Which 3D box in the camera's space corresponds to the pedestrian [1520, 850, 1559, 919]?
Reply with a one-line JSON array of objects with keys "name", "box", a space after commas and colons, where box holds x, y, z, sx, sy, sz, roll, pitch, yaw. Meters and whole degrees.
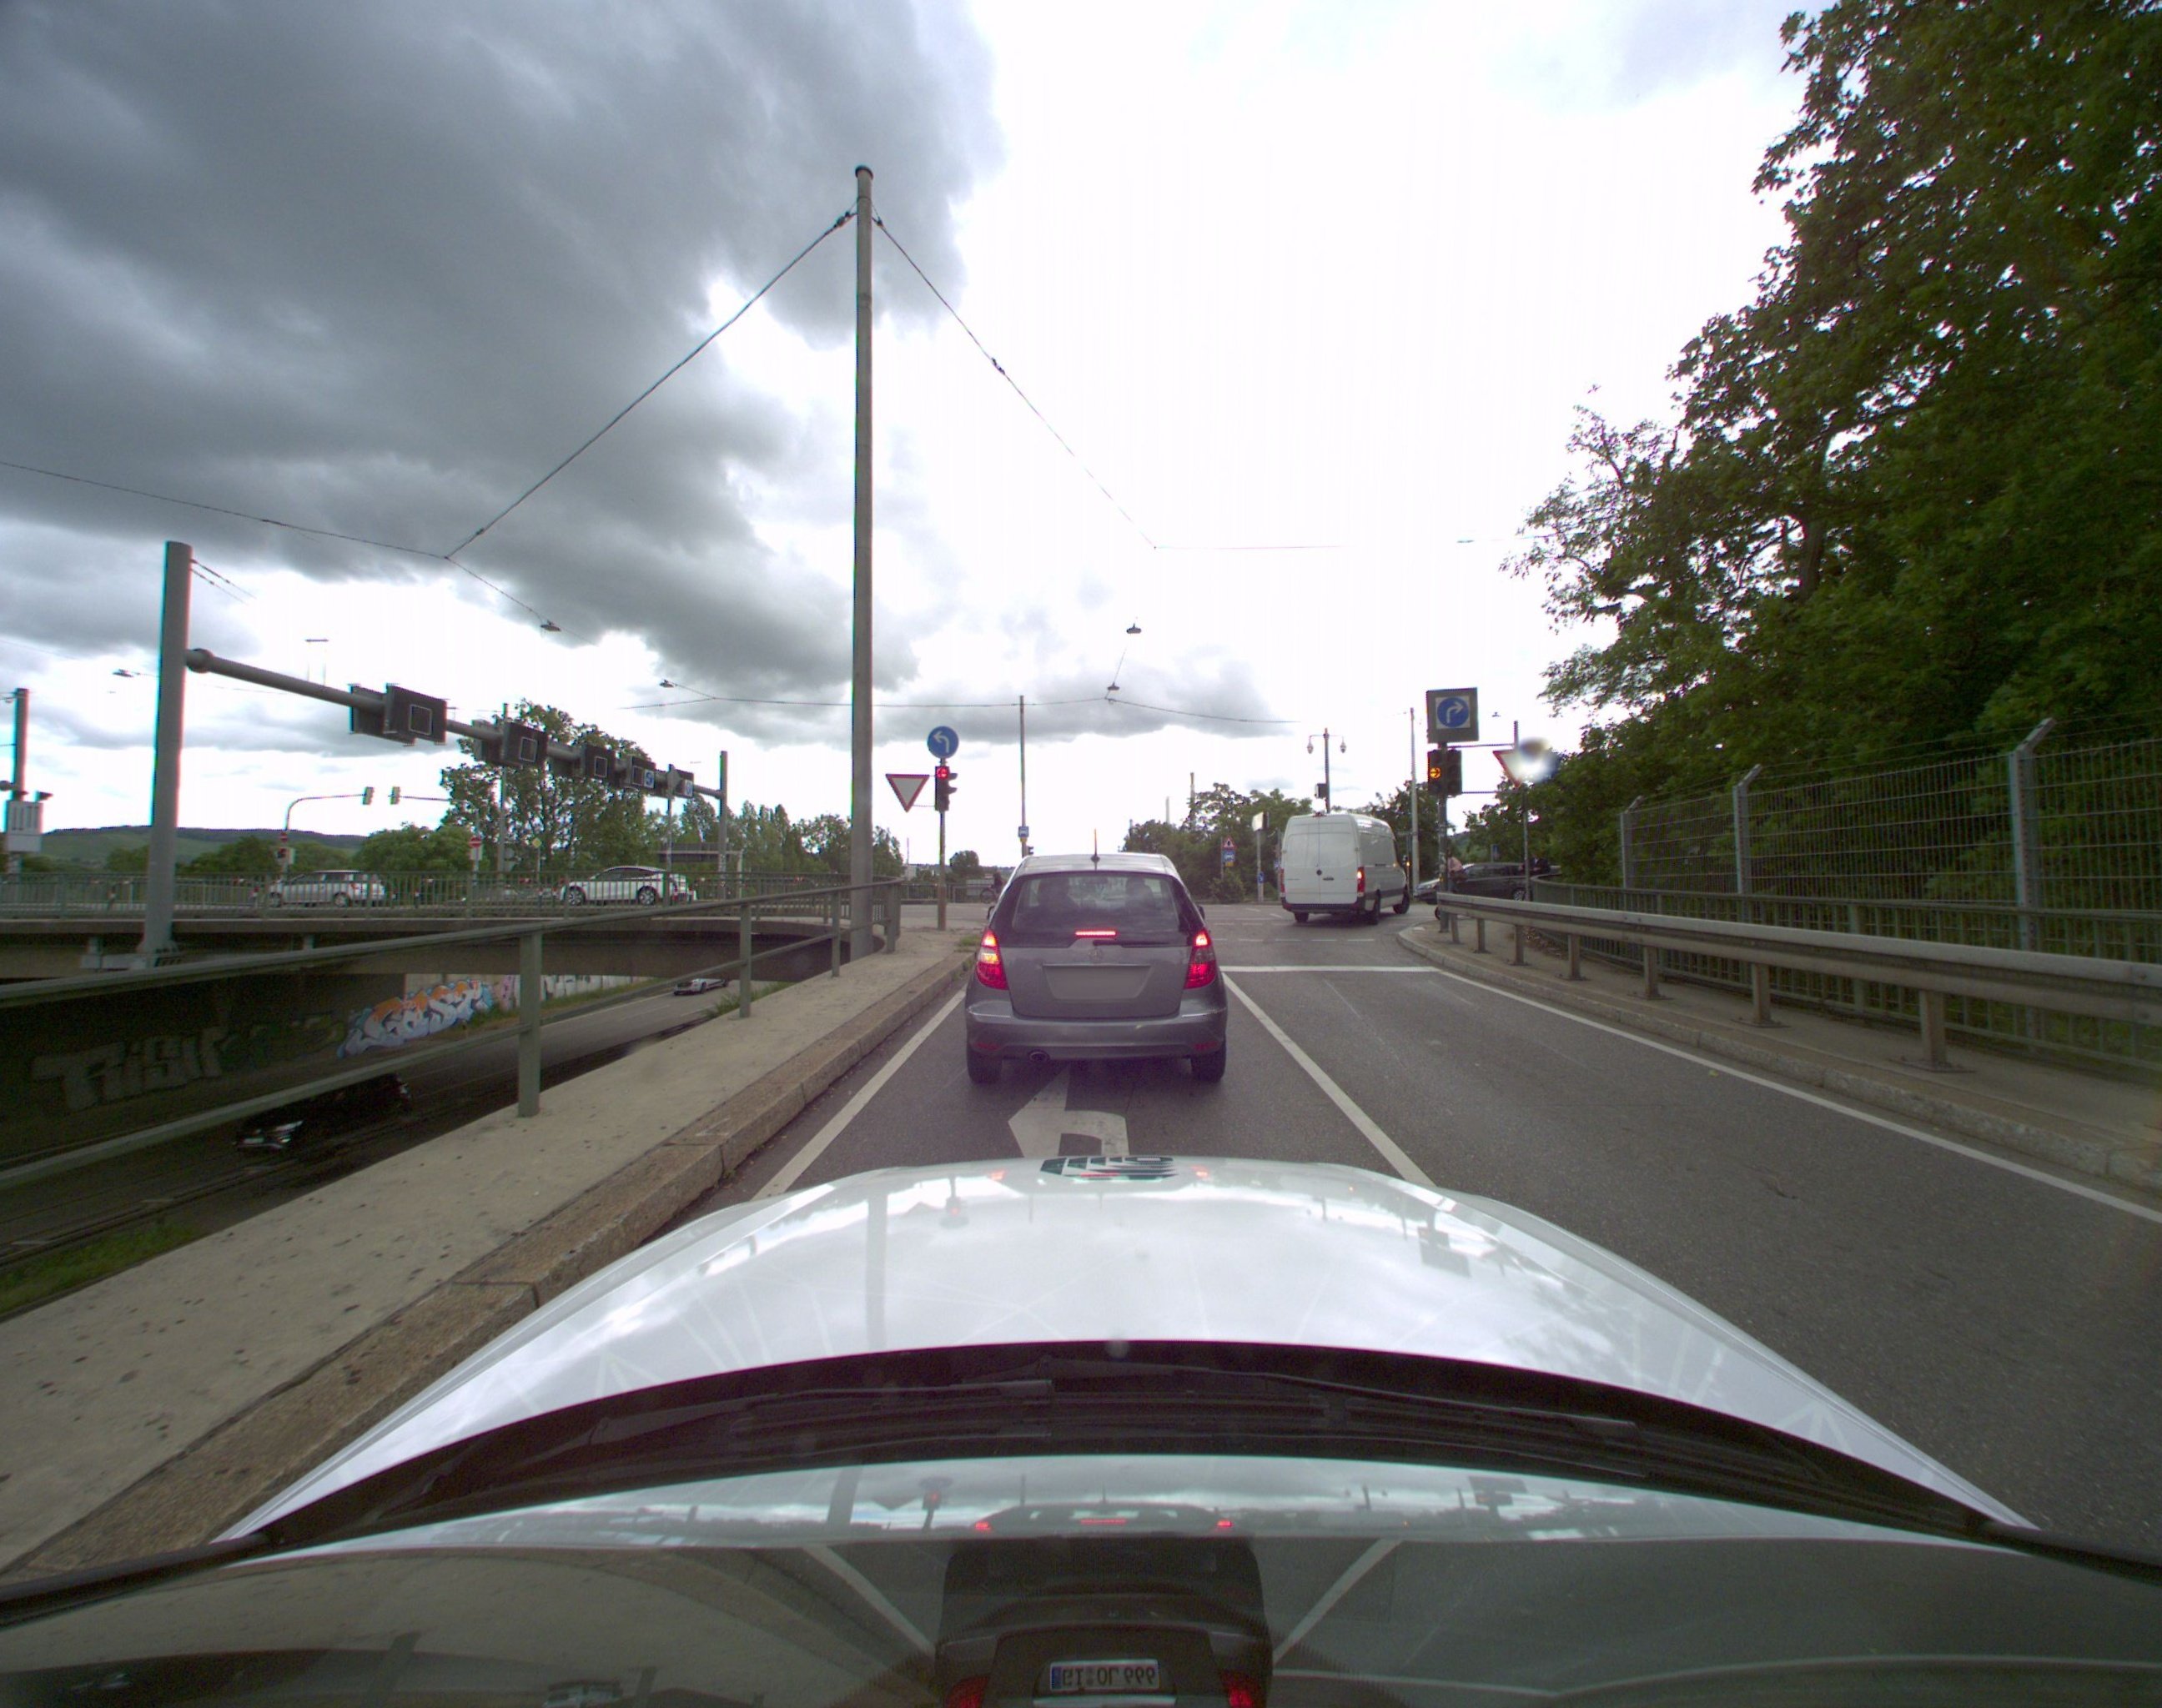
[{"name": "pedestrian", "box": [11.148, 0.734, 19.815, 0.774, 1.619, 0.681, -1, 0, 29]}]

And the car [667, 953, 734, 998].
[{"name": "car", "box": [-27.970, 8.905, 60.149, 2.077, 2.535, 6.325, -2, -2, -1]}]

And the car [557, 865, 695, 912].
[{"name": "car", "box": [-18.152, 1.347, 32.662, 4.377, 1.717, 1.937, -1, 0, -1]}]

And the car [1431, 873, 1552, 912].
[{"name": "car", "box": [20.072, 1.871, 40.074, 5.175, 1.771, 2.016, -1, 0, 24]}]

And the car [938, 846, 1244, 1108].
[{"name": "car", "box": [0.195, 0.743, 6.996, 1.849, 1.588, 4.005, -1, 1, 4]}]

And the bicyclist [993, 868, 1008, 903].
[{"name": "bicyclist", "box": [-3.981, 1.534, 40.282, 0.653, 1.673, 0.867, -1, 0, -9]}]

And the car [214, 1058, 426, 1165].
[{"name": "car", "box": [-22.091, 7.425, 23.948, 1.986, 1.841, 4.424, -3, -3, 2]}]

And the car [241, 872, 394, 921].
[{"name": "car", "box": [-29.756, 1.617, 31.845, 3.978, 1.717, 1.935, -1, 0, -3]}]

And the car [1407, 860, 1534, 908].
[{"name": "car", "box": [14.826, 1.123, 31.169, 3.969, 1.665, 1.815, -1, 0, 4]}]

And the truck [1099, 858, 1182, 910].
[{"name": "truck", "box": [4.280, 2.113, 61.580, 2.796, 3.518, 10.189, -1, 0, -17]}]

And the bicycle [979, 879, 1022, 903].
[{"name": "bicycle", "box": [-3.987, 1.820, 40.268, 2.032, 1.124, 0.926, -1, 0, -10]}]

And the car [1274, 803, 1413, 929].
[{"name": "car", "box": [7.128, 0.240, 21.454, 2.090, 2.783, 6.822, -1, 0, 29]}]

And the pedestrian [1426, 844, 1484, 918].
[{"name": "pedestrian", "box": [8.761, 0.641, 19.128, 0.830, 1.678, 0.978, -1, -3, -1]}]
